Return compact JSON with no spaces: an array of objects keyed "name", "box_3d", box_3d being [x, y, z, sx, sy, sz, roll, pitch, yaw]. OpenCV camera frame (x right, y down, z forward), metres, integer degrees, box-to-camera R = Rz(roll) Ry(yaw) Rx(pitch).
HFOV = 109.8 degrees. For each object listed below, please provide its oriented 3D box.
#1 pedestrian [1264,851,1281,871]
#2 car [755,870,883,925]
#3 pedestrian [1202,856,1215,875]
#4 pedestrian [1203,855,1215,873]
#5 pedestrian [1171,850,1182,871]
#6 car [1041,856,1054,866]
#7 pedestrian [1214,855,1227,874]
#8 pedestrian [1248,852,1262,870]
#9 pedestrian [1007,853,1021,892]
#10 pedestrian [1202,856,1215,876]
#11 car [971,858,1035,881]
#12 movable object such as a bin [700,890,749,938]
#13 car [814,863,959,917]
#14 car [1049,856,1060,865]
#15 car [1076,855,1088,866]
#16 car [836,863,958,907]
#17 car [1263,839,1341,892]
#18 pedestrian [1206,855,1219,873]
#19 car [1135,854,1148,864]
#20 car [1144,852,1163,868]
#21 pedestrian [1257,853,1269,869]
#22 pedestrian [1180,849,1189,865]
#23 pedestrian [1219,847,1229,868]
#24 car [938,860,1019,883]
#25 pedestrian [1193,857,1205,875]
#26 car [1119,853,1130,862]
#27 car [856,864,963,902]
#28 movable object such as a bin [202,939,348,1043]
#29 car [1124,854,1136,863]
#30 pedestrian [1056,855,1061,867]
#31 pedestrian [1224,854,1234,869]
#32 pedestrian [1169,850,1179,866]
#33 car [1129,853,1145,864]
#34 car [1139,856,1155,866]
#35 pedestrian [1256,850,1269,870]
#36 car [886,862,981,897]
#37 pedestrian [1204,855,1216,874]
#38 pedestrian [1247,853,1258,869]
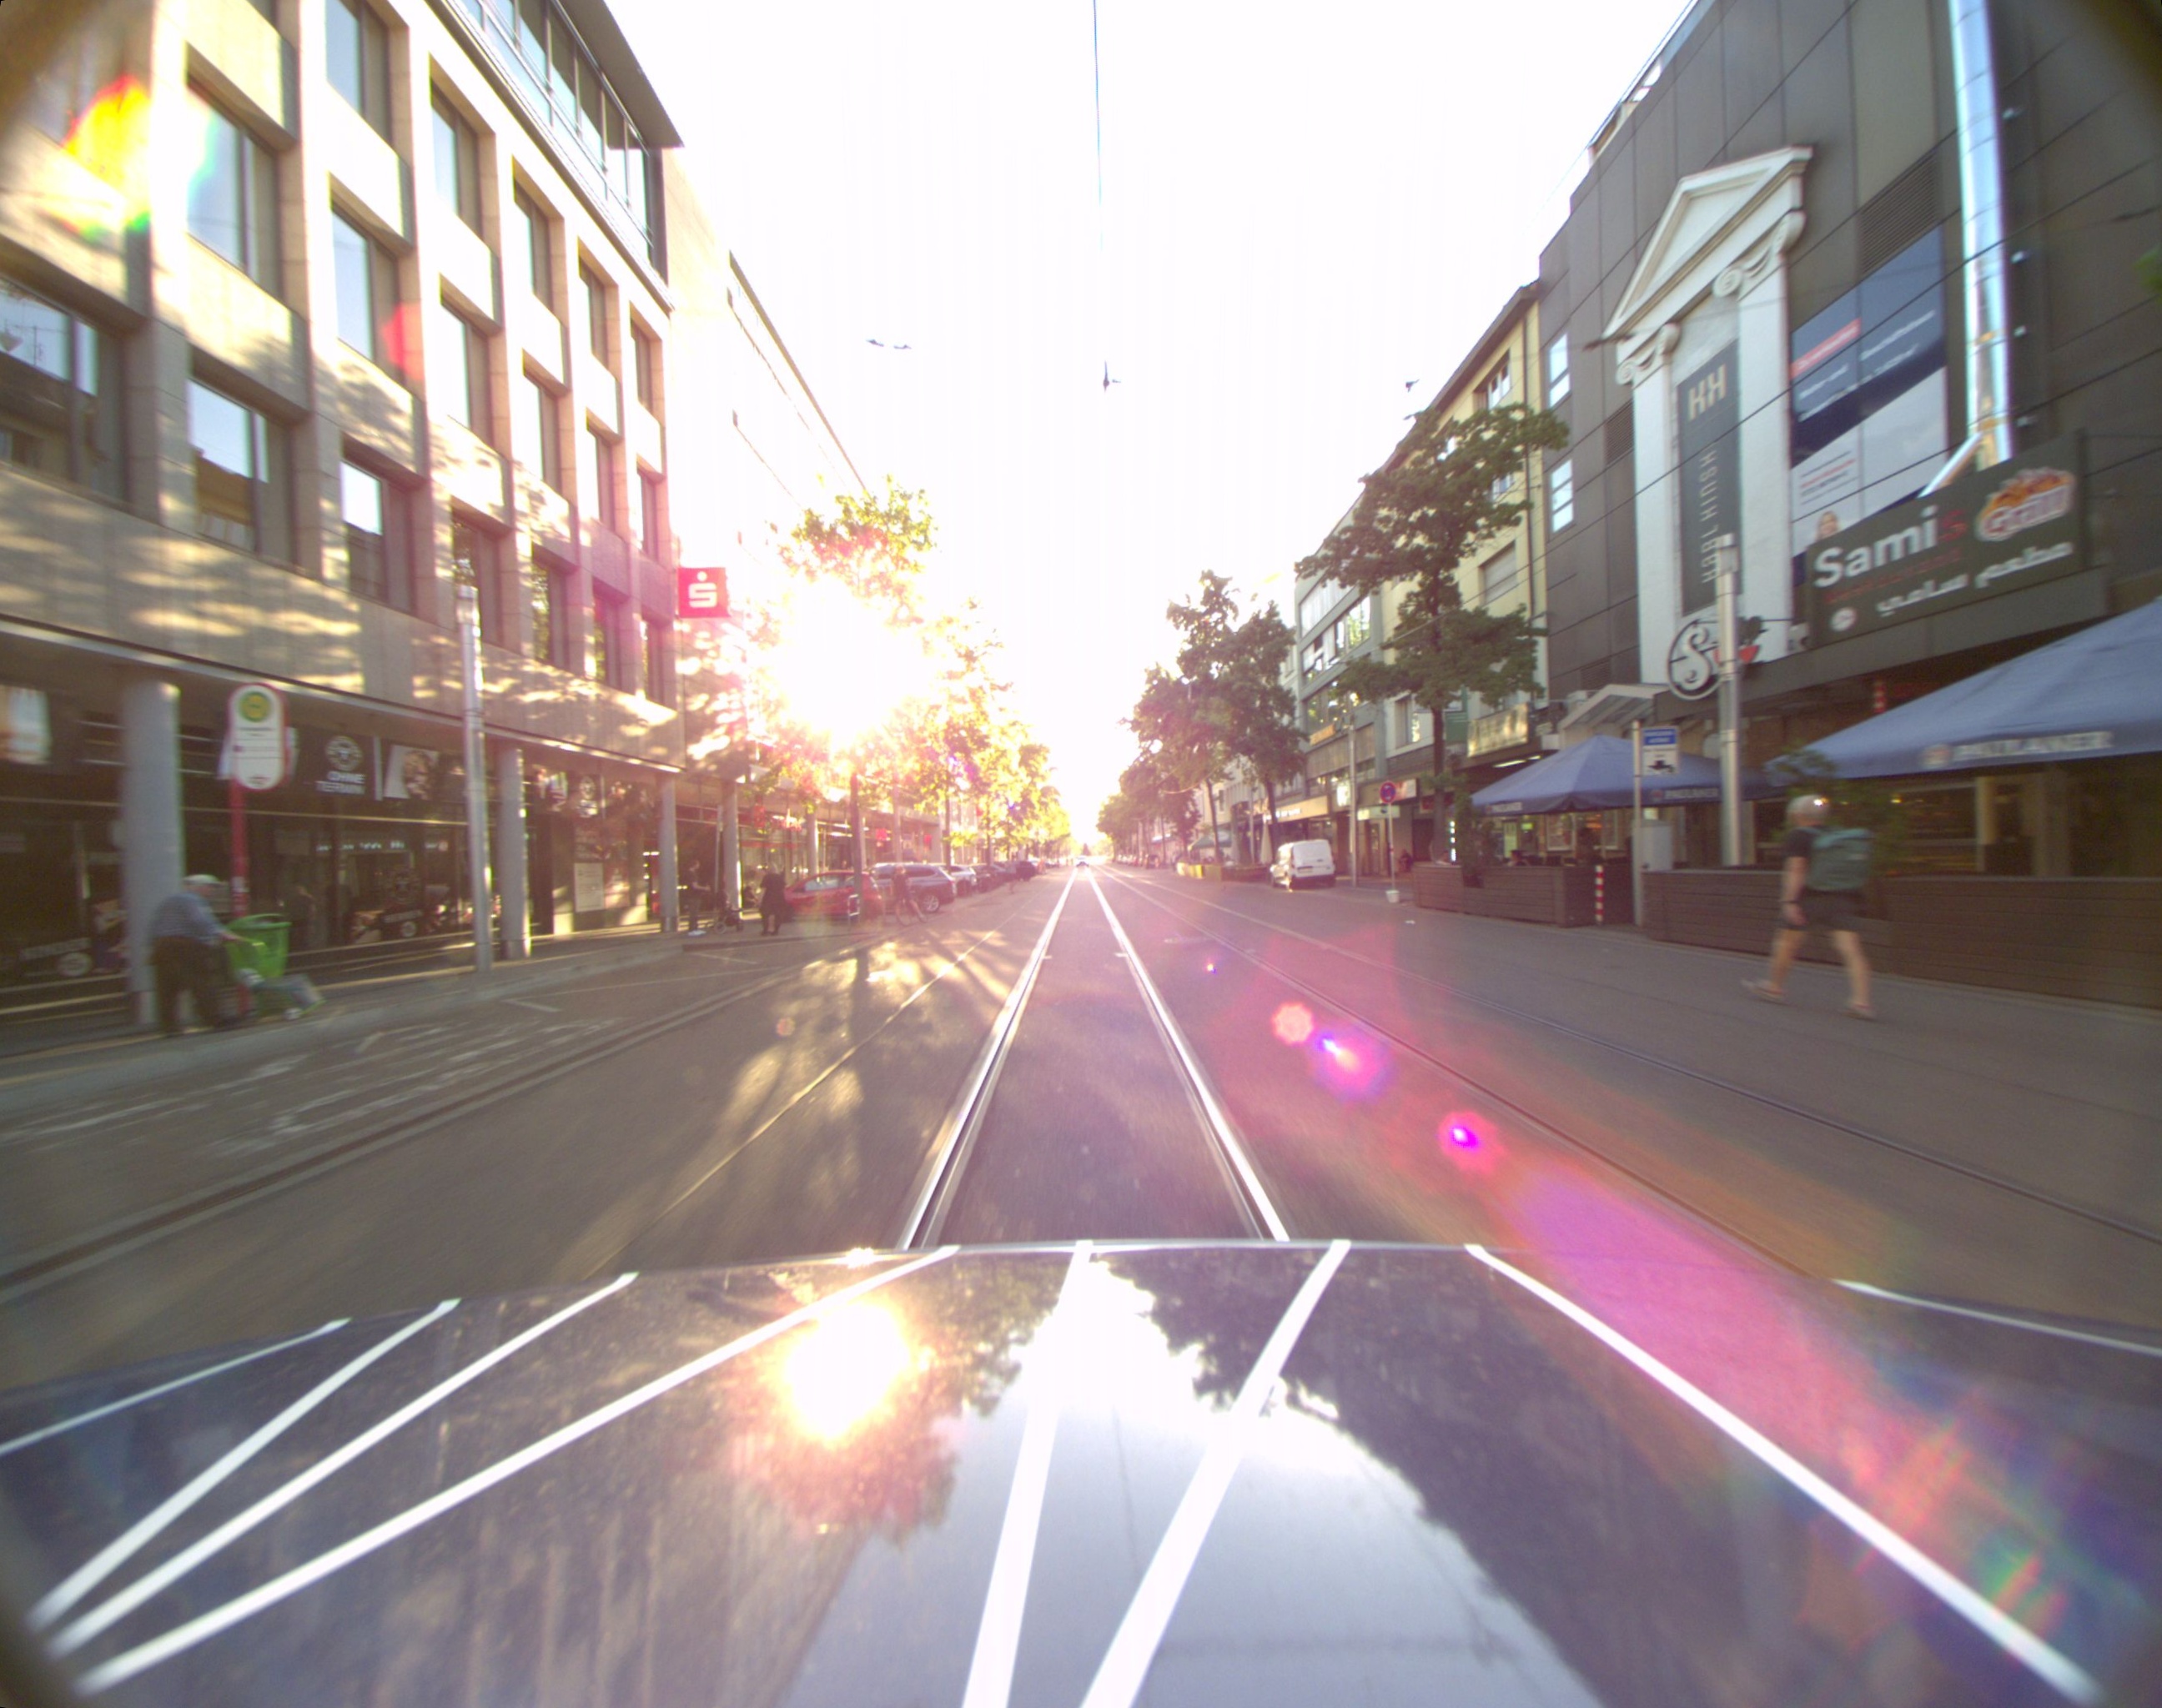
[{"name":"pedestrian","box_3d":[12.617,0.467,50.035,0.779,1.230,0.945,-5,0,0]},{"name":"car","box_3d":[-7.574,1.205,22.126,3.402,1.472,1.664,0,0,-19]},{"name":"pedestrian","box_3d":[8.702,0.768,51.868,0.620,1.237,0.697,-5,0,0]},{"name":"pedestrian","box_3d":[9.592,0.764,56.990,0.691,1.304,0.807,-4,0,1]},{"name":"pedestrian","box_3d":[8.402,0.599,66.875,0.758,1.781,0.687,-4,0,2]},{"name":"car","box_3d":[-5.537,1.131,126.100,1.985,1.678,4.873,1,0,0]},{"name":"pedestrian","box_3d":[9.322,0.708,50.836,0.620,1.237,0.697,-5,0,0]},{"name":"pedestrian","box_3d":[12.222,0.513,53.373,0.671,1.235,0.799,-4,0,0]},{"name":"pedestrian","box_3d":[-3.297,0.915,37.380,0.584,1.907,0.663,0,1,2]},{"name":"pedestrian","box_3d":[8.536,0.792,50.771,0.620,1.237,0.697,-5,0,0]},{"name":"car","box_3d":[-6.286,1.228,61.270,4.674,1.753,1.990,1,0,-29]},{"name":"movable object such as a bin","box_3d":[-8.483,1.413,18.086,0.687,1.057,0.835,1,0,42]},{"name":"car","box_3d":[-6.400,1.140,25.176,4.364,1.642,1.690,0,0,-31]},{"name":"car","box_3d":[-4.949,1.213,143.701,1.770,1.502,4.287,-2,0,1]},{"name":"car","box_3d":[0.184,1.045,124.155,1.827,1.603,3.796,-2,0,1]},{"name":"car","box_3d":[-7.163,1.165,29.716,4.256,1.578,1.880,0,0,-31]},{"name":"car","box_3d":[8.833,0.433,30.762,1.800,1.853,4.554,-5,0,1]},{"name":"pedestrian","box_3d":[9.470,0.734,54.751,0.709,1.252,0.869,-4,0,3]},{"name":"car","box_3d":[9.204,0.757,115.275,1.664,1.397,4.141,-5,0,1]},{"name":"car","box_3d":[8.832,0.695,92.767,1.862,1.821,4.559,-3,0,2]},{"name":"pedestrian","box_3d":[13.365,0.486,55.808,0.603,1.151,0.687,-4,0,1]},{"name":"pedestrian","box_3d":[11.634,0.320,85.444,0.721,1.802,0.876,-5,0,0]},{"name":"pedestrian","box_3d":[12.411,0.289,65.751,0.685,1.805,0.765,-4,0,15]},{"name":"car","box_3d":[-6.895,1.192,51.513,5.071,1.460,1.972,1,0,-35]},{"name":"pedestrian","box_3d":[8.532,0.836,54.869,0.709,1.252,0.772,-4,0,3]},{"name":"car","box_3d":[9.338,0.798,162.615,1.952,1.731,4.765,-5,0,0]},{"name":"car","box_3d":[-7.241,1.196,32.047,4.165,1.490,1.685,0,0,-23]},{"name":"movable object such as a bin","box_3d":[-8.318,1.395,7.875,0.691,0.918,0.718,-4,0,1]},{"name":"car","box_3d":[9.240,0.852,143.253,1.897,1.458,4.617,-5,0,1]},{"name":"pedestrian","box_3d":[-3.474,1.042,117.786,0.705,1.858,0.792,-2,0,-2]},{"name":"pedestrian","box_3d":[12.416,0.623,63.913,0.628,1.274,0.727,-4,0,1]},{"name":"pedestrian","box_3d":[10.489,0.438,85.579,0.867,1.771,0.884,-5,0,0]},{"name":"car","box_3d":[9.148,0.734,124.854,1.870,1.679,4.950,-5,0,-3]},{"name":"car","box_3d":[9.161,0.918,106.247,1.722,1.238,4.507,-5,0,0]},{"name":"pedestrian","box_3d":[12.459,0.422,52.187,0.620,1.302,0.697,-5,0,0]},{"name":"car","box_3d":[-7.115,1.195,36.767,4.167,1.562,1.849,0,0,-33]},{"name":"pedestrian","box_3d":[9.556,0.789,56.114,0.709,1.339,0.781,-4,0,3]},{"name":"pedestrian","box_3d":[12.575,0.527,55.793,0.603,1.167,0.687,-4,0,1]}]
